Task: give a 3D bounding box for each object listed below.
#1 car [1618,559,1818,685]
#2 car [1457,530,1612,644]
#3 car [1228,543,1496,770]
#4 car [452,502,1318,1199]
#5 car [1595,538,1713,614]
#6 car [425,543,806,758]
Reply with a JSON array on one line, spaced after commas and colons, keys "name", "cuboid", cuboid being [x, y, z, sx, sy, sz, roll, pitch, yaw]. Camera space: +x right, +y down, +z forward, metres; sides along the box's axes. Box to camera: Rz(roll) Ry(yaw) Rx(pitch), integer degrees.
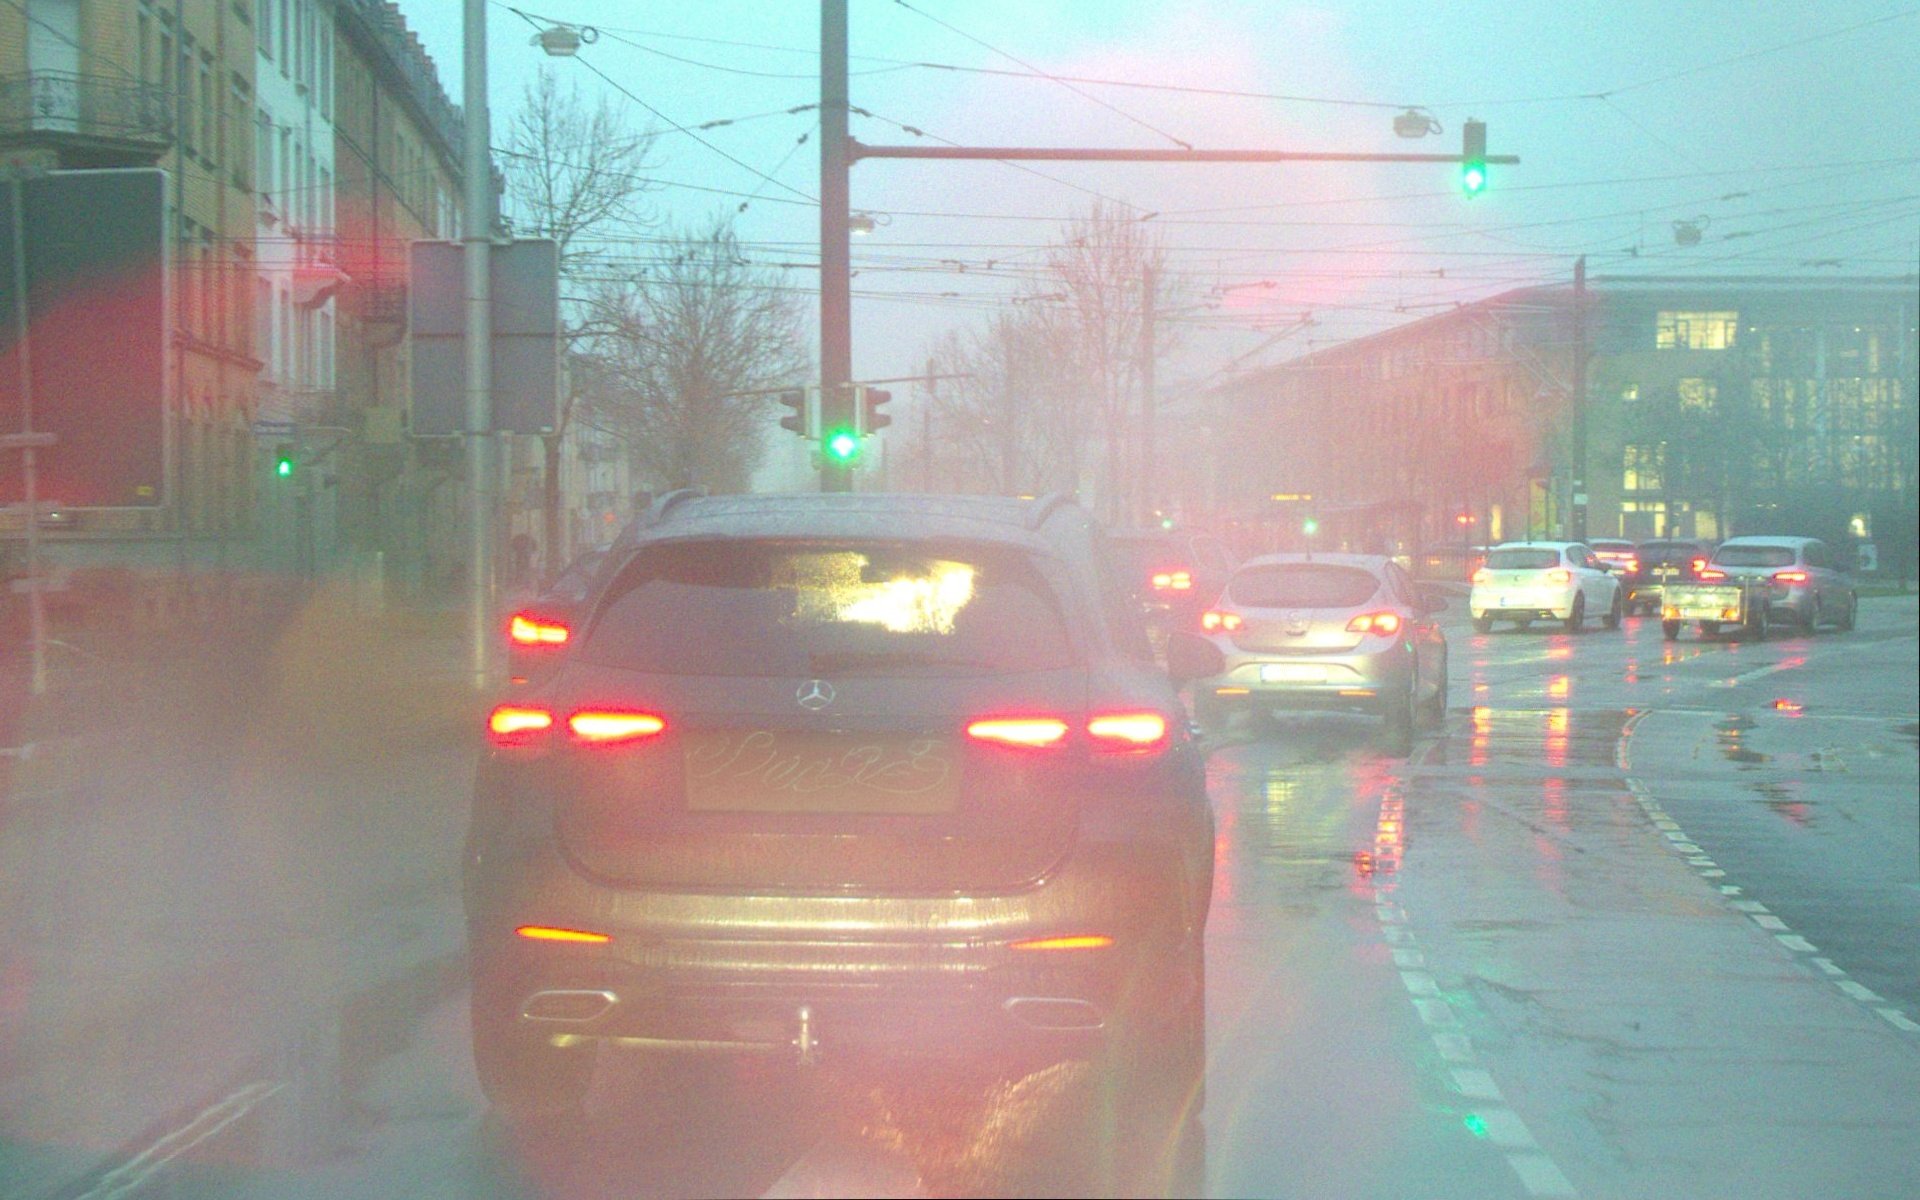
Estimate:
[{"name": "car", "cuboid": [11.400, 0.290, 51.523, 1.996, 1.759, 3.994, 0, 1, 27]}, {"name": "car", "cuboid": [9.372, -0.240, 55.844, 1.995, 1.759, 3.997, 0, 1, 17]}, {"name": "car", "cuboid": [3.468, 0.413, 29.059, 1.994, 1.759, 3.998, 0, 1, 10]}, {"name": "car", "cuboid": [-0.248, 0.543, 9.937, 1.990, 1.610, 4.001, 0, 1, -2]}, {"name": "car", "cuboid": [13.459, -0.486, 66.532, 1.863, 1.405, 3.941, 0, 1, 17]}, {"name": "car", "cuboid": [-2.363, 0.305, 24.653, 1.994, 1.393, 3.999, 0, 1, 5]}]
